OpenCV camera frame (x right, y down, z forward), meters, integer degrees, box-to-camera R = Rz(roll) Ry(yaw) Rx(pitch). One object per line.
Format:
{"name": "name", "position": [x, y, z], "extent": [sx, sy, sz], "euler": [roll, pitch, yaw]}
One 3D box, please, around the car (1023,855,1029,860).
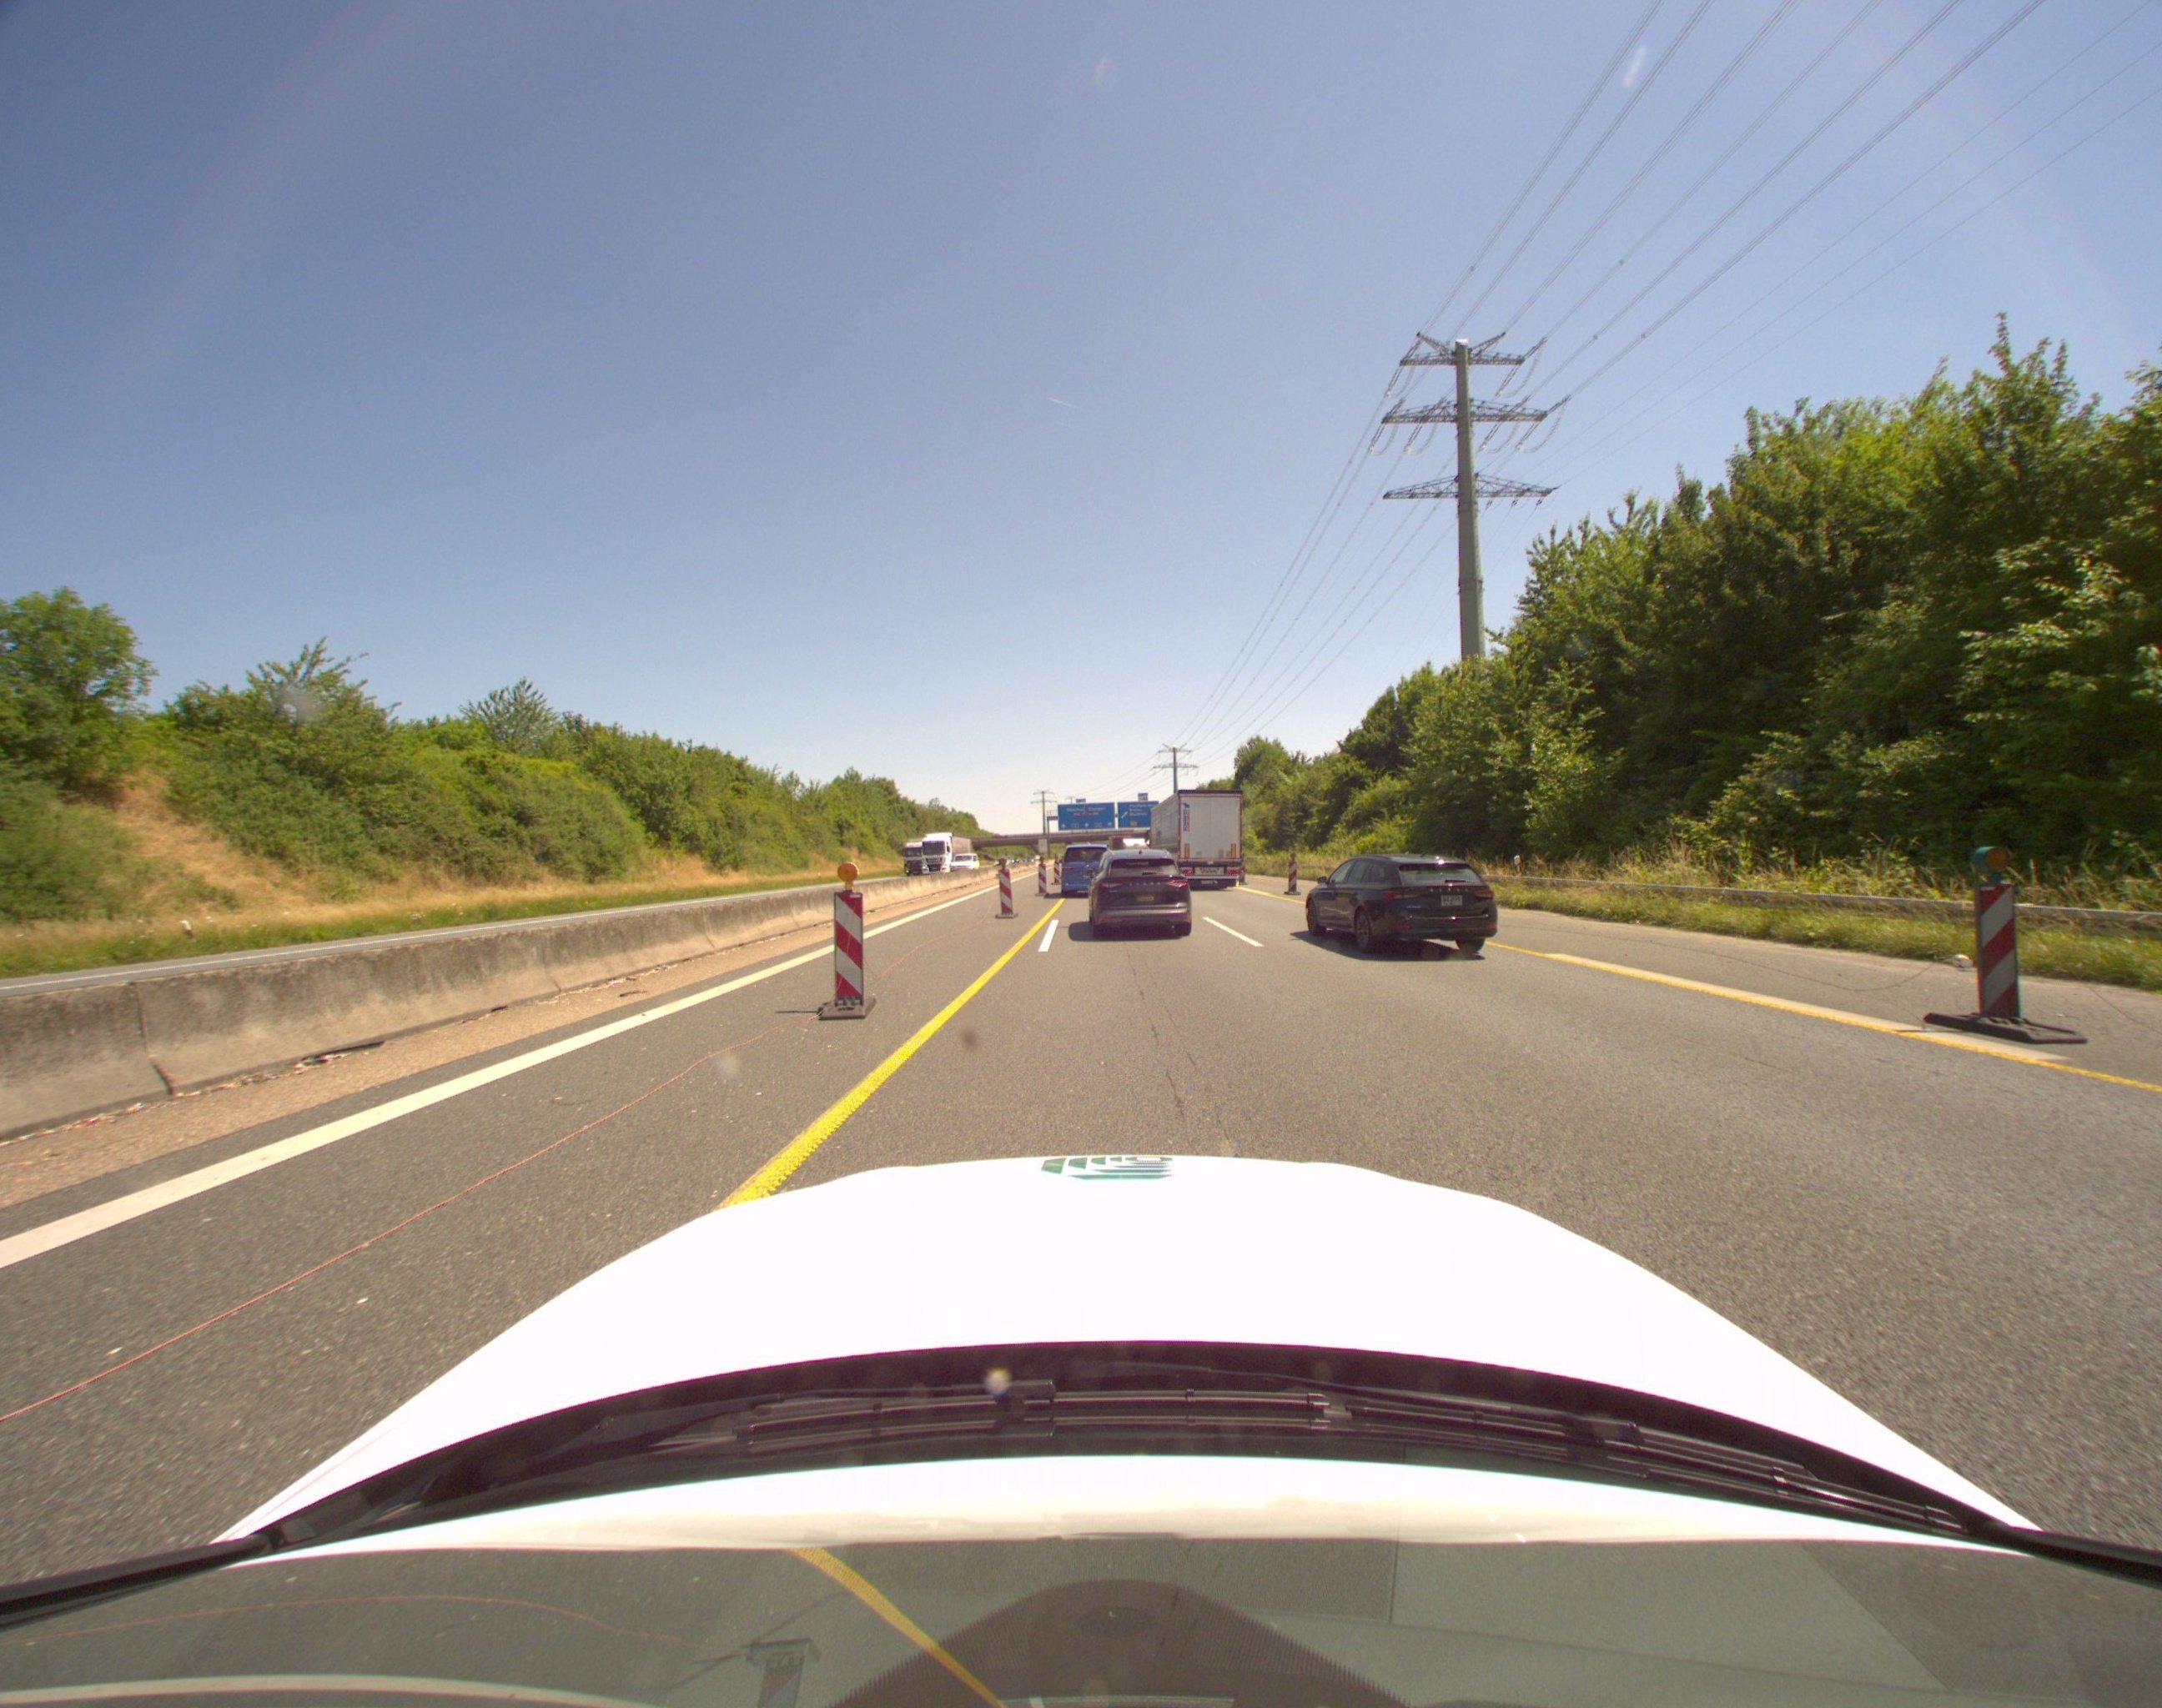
{"name": "car", "position": [-16.586, 1.103, 244.818], "extent": [1.494, 1.548, 4.001], "euler": [-2, 0, 1]}

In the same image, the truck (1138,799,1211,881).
{"name": "truck", "position": [5.008, -0.739, 45.025], "extent": [3.015, 4.087, 7.793], "euler": [-1, 0, -1]}

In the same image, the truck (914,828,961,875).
{"name": "truck", "position": [-13.987, -0.216, 79.905], "extent": [3.154, 4.224, 7.414], "euler": [-2, 0, 0]}

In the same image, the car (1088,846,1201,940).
{"name": "car", "position": [1.121, 0.665, 16.387], "extent": [1.890, 1.592, 4.442], "euler": [-1, 0, 0]}

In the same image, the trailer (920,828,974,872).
{"name": "trailer", "position": [-13.946, -0.381, 86.125], "extent": [3.150, 4.180, 13.684], "euler": [-2, 0, 0]}

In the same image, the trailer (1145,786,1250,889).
{"name": "trailer", "position": [5.062, -0.669, 37.940], "extent": [3.056, 4.042, 11.483], "euler": [-1, 0, -1]}

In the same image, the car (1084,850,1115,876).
{"name": "car", "position": [1.195, 0.587, 54.498], "extent": [1.890, 1.509, 4.442], "euler": [1, 2, 0]}

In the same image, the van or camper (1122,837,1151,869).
{"name": "van or camper", "position": [5.430, -0.080, 80.412], "extent": [2.577, 2.968, 6.087], "euler": [1, 0, 2]}

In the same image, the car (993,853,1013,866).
{"name": "car", "position": [-9.351, 0.673, 97.784], "extent": [1.755, 1.471, 4.636], "euler": [-2, 0, 2]}

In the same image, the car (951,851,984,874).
{"name": "car", "position": [-9.667, 0.712, 69.794], "extent": [1.860, 1.792, 5.457], "euler": [-2, 0, 1]}

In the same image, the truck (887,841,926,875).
{"name": "truck", "position": [-18.015, 0.358, 84.507], "extent": [2.456, 3.288, 6.924], "euler": [-2, 0, 0]}

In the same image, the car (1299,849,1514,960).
{"name": "car", "position": [5.018, 0.685, 13.293], "extent": [1.773, 1.489, 4.464], "euler": [0, 0, 0]}

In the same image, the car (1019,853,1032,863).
{"name": "car", "position": [-9.905, 0.754, 145.806], "extent": [1.835, 1.714, 4.397], "euler": [-2, 0, 1]}

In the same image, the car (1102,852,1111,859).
{"name": "car", "position": [6.039, 0.416, 191.877], "extent": [1.890, 1.509, 4.442], "euler": [1, 2, 0]}

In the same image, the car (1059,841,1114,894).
{"name": "car", "position": [0.179, 0.496, 30.425], "extent": [1.890, 1.841, 4.441], "euler": [0, -1, 0]}

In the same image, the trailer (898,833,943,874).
{"name": "trailer", "position": [-17.978, -0.080, 92.203], "extent": [2.472, 4.180, 12.085], "euler": [-2, 0, 0]}

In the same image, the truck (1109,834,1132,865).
{"name": "truck", "position": [5.654, -0.624, 117.525], "extent": [3.066, 4.146, 13.059], "euler": [0, 0, 2]}
